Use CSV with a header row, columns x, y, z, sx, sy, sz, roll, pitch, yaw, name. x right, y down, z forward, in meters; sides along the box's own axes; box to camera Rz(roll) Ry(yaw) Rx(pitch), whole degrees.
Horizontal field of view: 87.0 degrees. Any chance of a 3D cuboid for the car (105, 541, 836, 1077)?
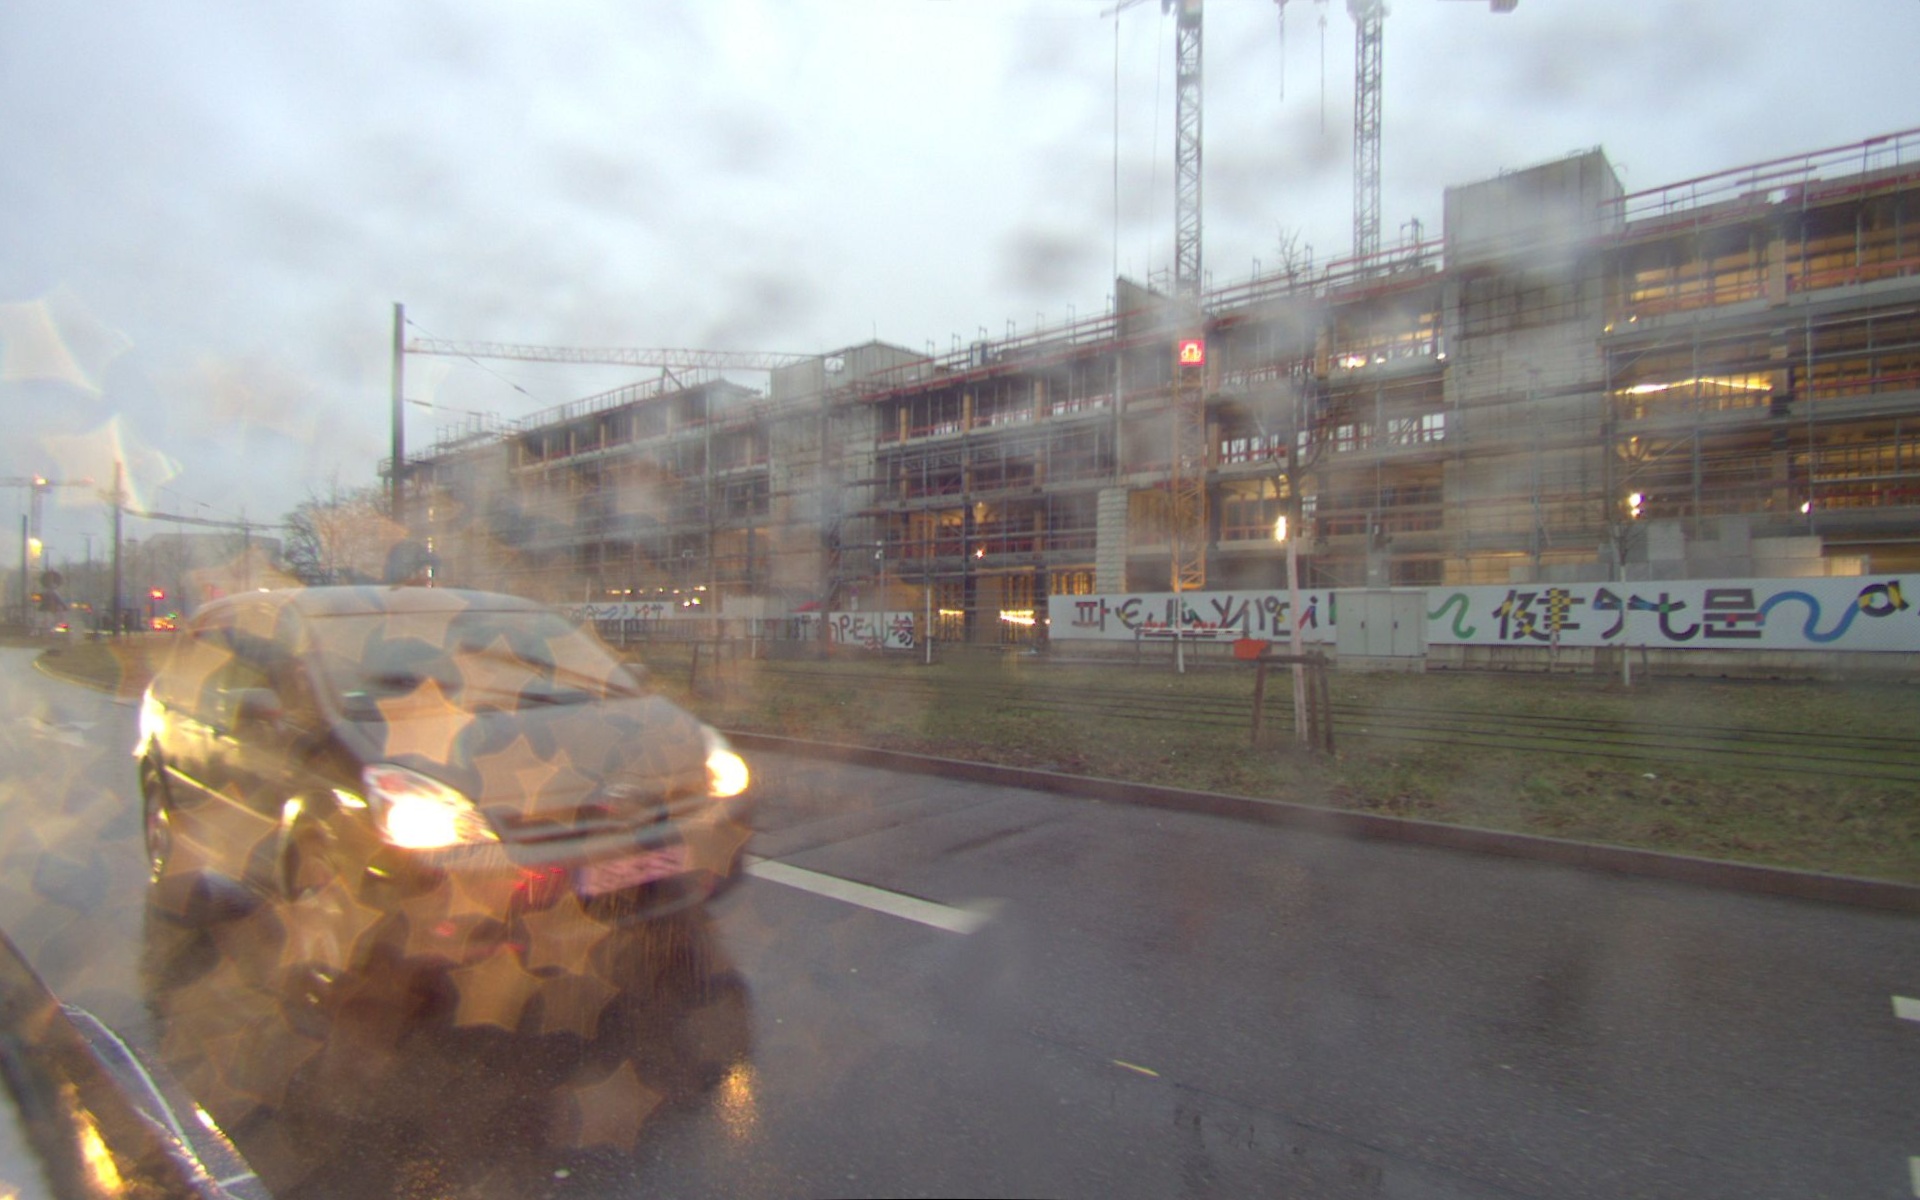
x,y,z,sx,sy,sz,roll,pitch,yaw,name
-2.718,0.686,5.158,4.130,1.659,1.793,-1,-1,39,car
